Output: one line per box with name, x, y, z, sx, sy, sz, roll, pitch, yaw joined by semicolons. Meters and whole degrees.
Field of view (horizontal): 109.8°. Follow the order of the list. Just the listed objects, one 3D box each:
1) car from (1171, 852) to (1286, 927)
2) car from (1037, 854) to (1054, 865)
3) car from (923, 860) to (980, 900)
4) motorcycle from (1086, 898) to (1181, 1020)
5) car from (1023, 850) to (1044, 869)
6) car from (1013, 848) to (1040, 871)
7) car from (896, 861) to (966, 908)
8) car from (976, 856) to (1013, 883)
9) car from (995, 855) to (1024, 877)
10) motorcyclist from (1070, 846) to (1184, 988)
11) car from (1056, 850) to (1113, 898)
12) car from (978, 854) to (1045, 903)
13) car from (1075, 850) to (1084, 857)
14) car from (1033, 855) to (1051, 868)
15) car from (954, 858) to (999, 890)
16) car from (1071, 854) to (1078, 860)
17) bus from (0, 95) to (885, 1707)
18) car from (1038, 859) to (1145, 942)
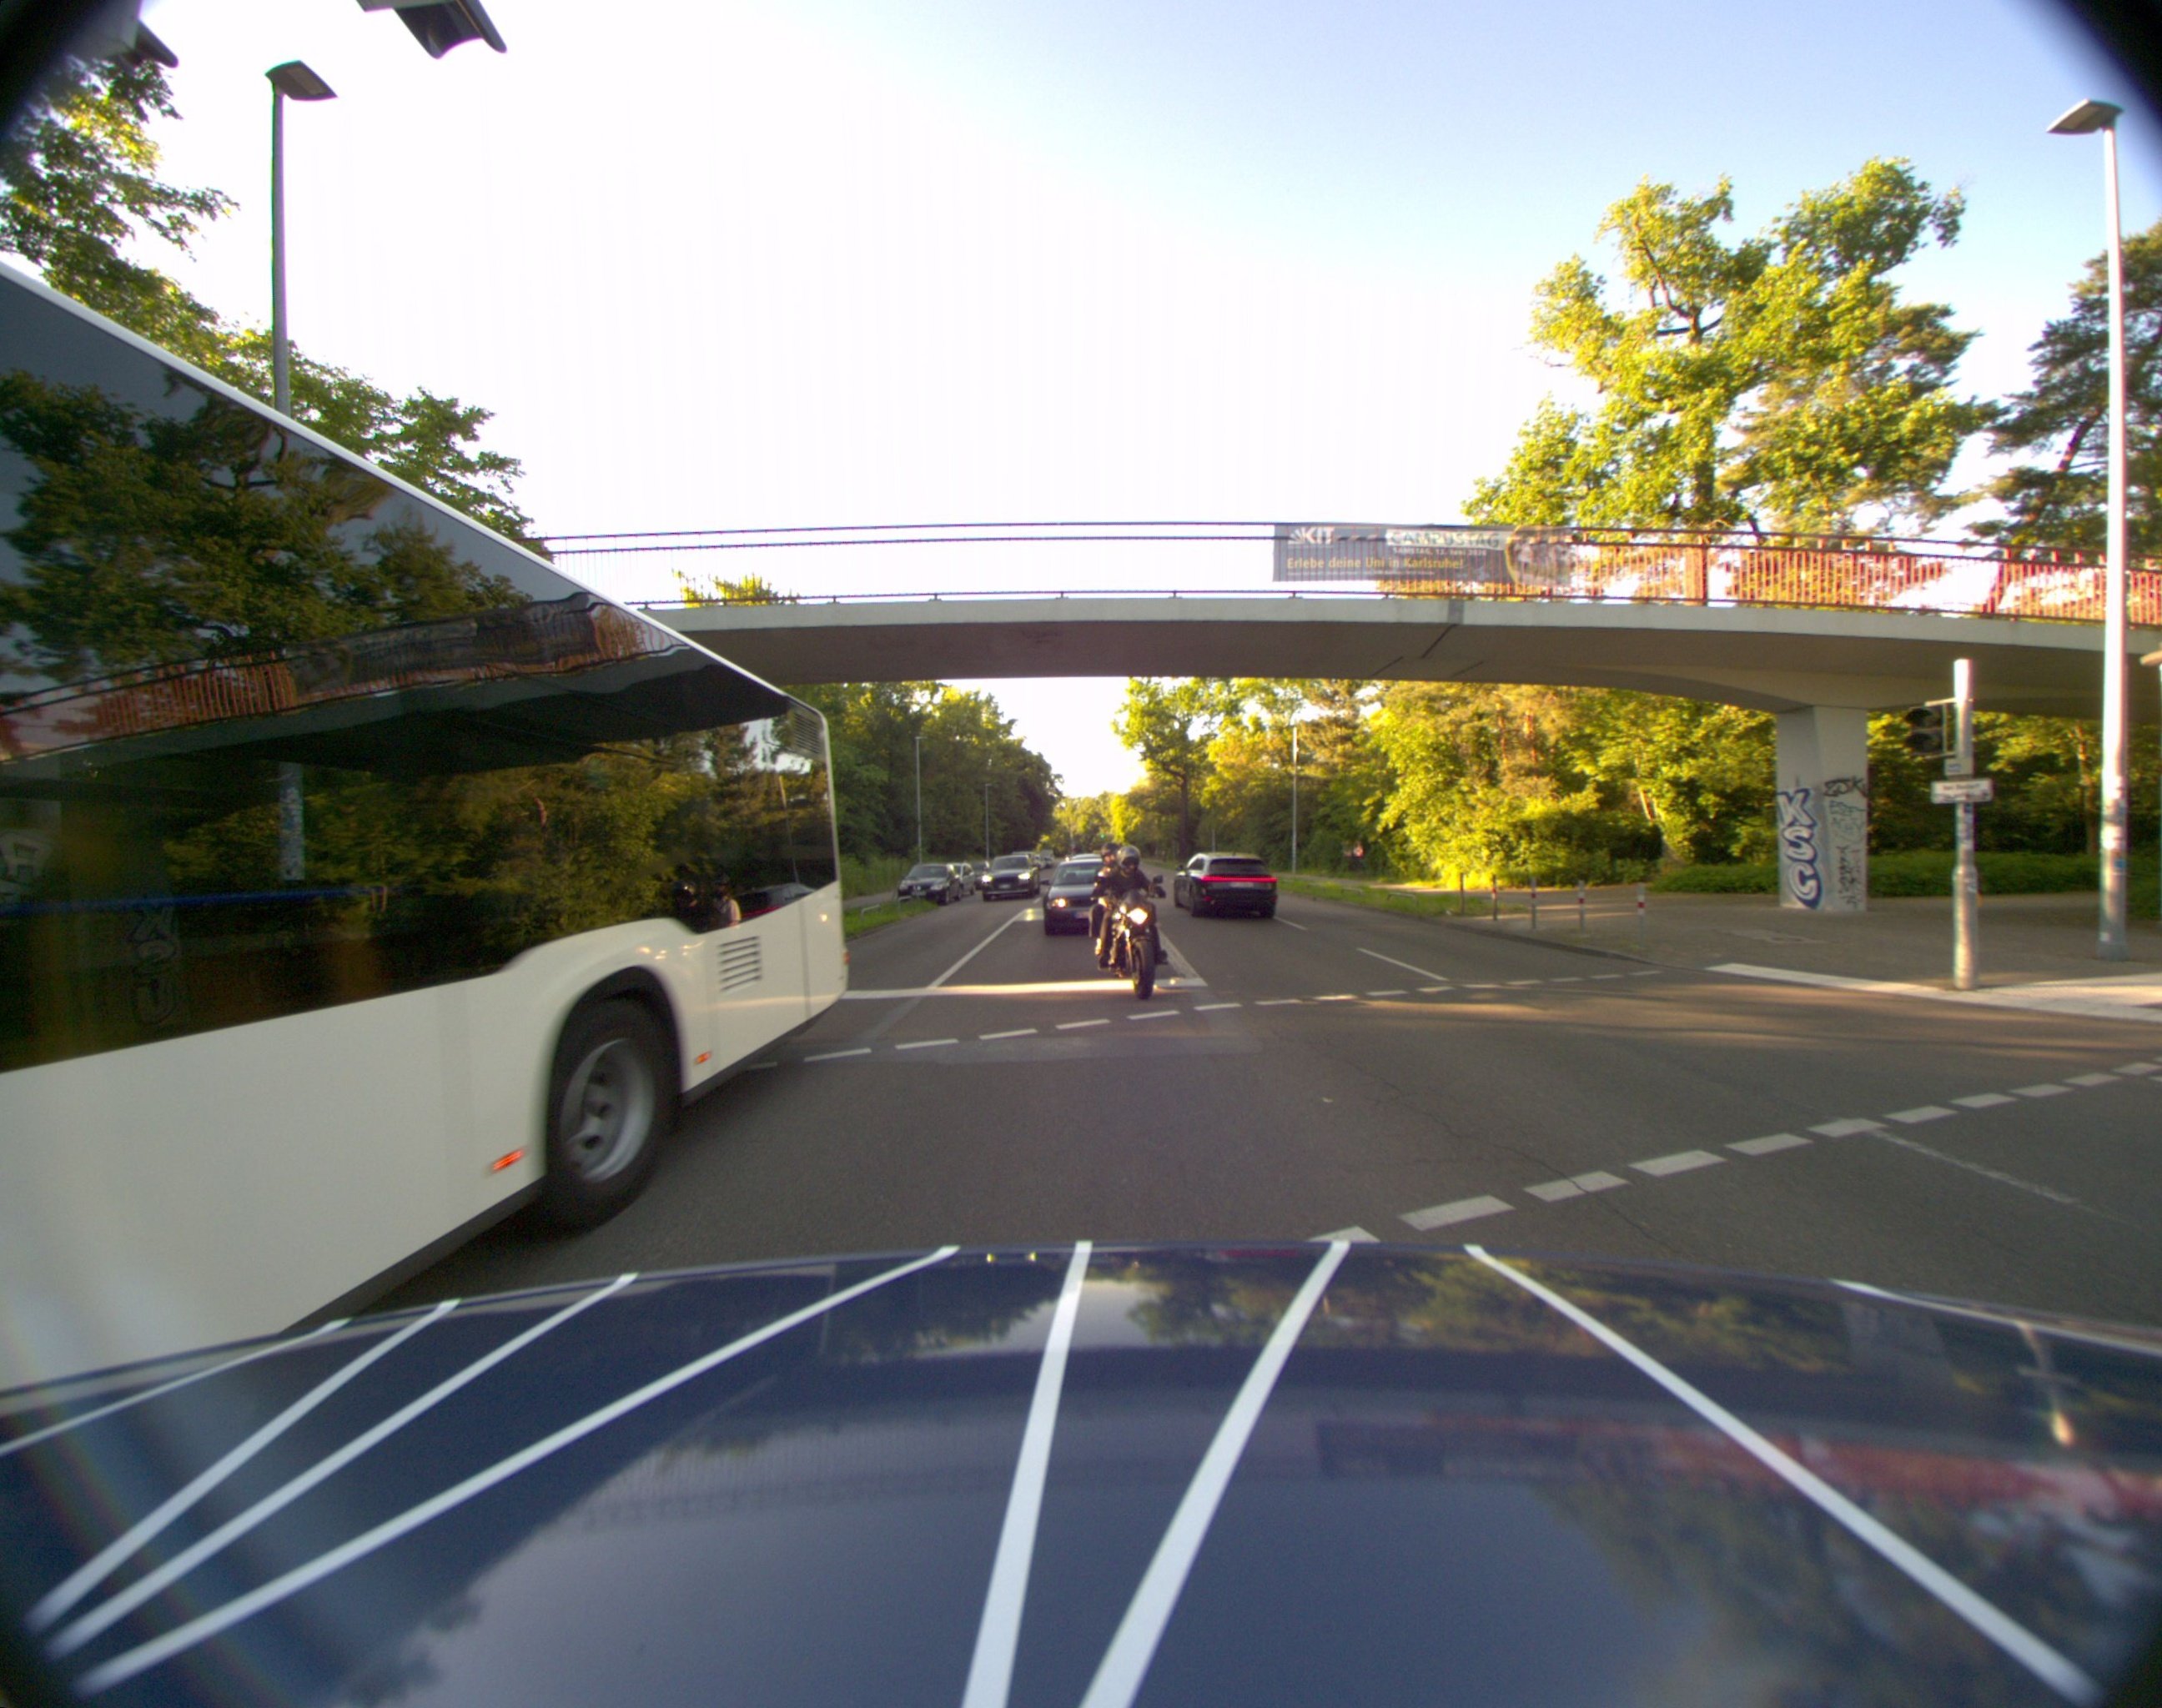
car;3.446;0.755;18.621;1.966;1.497;4.646;-1;1;1
car;-4.496;0.701;97.116;1.915;1.213;3.999;-1;0;0
car;-5.438;1.052;32.295;1.720;1.499;3.975;0;0;0
motorcycle;0.521;1.101;8.724;0.807;0.908;2.711;-1;2;-2
car;-5.006;0.548;80.567;1.951;1.964;4.395;0;0;0
car;-4.827;0.491;68.407;2.017;1.964;5.041;0;0;0
car;-5.407;1.041;27.922;1.694;1.499;4.125;-1;0;0
car;-5.108;0.899;45.170;1.704;1.499;4.136;0;0;0
car;-5.219;0.838;55.994;1.737;1.499;4.395;0;0;0
motorcyclist;0.478;0.646;8.717;1.138;1.420;1.566;-1;2;-2
car;0.113;0.707;30.149;1.999;1.625;5.885;-1;1;0
car;-2.592;0.868;29.295;1.993;1.597;4.362;-4;0;1
car;-0.375;-0.161;167.773;1.894;1.491;4.395;0;0;0
car;-4.688;0.868;91.797;1.894;1.537;4.395;0;0;0
car;-5.410;0.999;39.629;1.737;1.499;4.153;0;0;0
car;-1.299;0.631;155.470;1.465;1.237;4.000;-1;0;0
bus;-3.415;0.234;0.561;3.019;3.069;12.269;-4;0;1
car;0.210;0.836;15.430;1.867;1.381;4.000;-1;0;1
